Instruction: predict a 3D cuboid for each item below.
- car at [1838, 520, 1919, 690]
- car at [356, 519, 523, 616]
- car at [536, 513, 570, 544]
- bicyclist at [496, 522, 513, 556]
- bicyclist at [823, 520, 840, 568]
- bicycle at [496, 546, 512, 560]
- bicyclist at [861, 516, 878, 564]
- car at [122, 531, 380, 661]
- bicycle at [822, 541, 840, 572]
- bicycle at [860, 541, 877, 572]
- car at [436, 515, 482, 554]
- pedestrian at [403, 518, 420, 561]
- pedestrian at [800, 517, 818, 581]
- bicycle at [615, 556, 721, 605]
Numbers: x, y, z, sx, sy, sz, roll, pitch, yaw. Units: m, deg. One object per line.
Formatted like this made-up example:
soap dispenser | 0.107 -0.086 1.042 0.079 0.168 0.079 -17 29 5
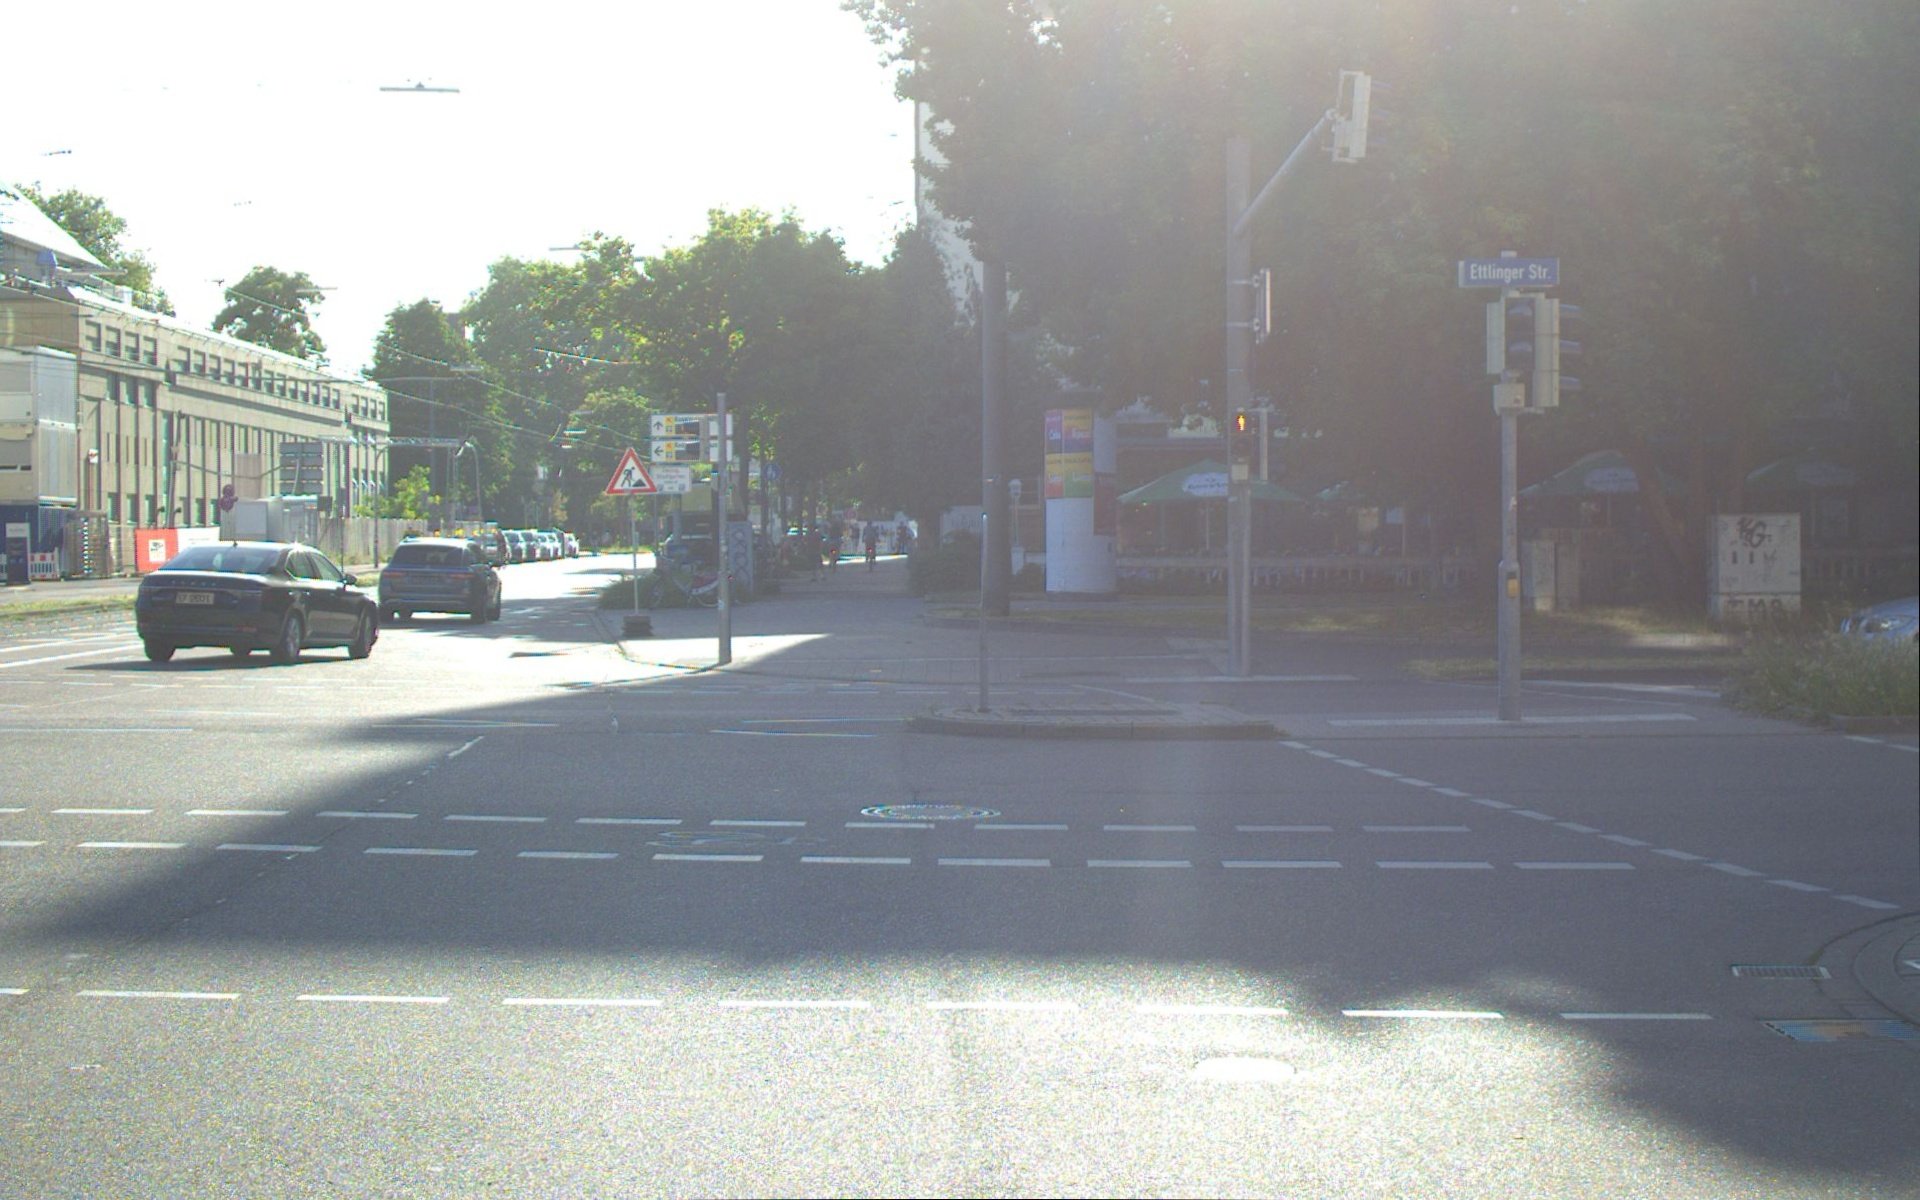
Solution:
car | 10.751 0.018 33.423 3.993 1.605 1.650 -1 1 -1
car | -9.175 -0.603 60.992 1.892 1.560 4.807 3 1 3
car | -23.026 -4.033 194.701 1.692 1.712 4.248 1 1 -4
bicyclist | -18.155 -2.428 137.164 0.596 1.372 0.638 1 0 -2
bicyclist | -4.527 -1.968 120.704 0.569 1.685 0.700 0 1 -1
bicycle | -18.180 -1.873 137.079 0.501 0.513 1.258 1 1 -1
bicyclist | -3.191 -2.098 120.852 0.569 1.685 0.700 0 1 -1
car | -8.628 -0.079 42.208 1.660 1.450 4.431 2 1 8
bicycle | -4.522 -1.539 120.709 0.575 1.073 1.831 0 1 -1
bicycle | -3.202 -1.522 120.825 0.575 1.073 1.831 0 1 -1
car | -22.785 -2.968 156.455 1.692 1.712 4.248 1 1 -4
pedestrian | -25.757 -2.858 161.357 0.674 2.007 0.751 1 0 -3
pedestrian | -4.317 -1.455 98.267 0.463 1.807 0.503 -1 1 -5
bicycle | -5.735 -0.386 67.492 2.018 0.888 0.650 -2 0 27
